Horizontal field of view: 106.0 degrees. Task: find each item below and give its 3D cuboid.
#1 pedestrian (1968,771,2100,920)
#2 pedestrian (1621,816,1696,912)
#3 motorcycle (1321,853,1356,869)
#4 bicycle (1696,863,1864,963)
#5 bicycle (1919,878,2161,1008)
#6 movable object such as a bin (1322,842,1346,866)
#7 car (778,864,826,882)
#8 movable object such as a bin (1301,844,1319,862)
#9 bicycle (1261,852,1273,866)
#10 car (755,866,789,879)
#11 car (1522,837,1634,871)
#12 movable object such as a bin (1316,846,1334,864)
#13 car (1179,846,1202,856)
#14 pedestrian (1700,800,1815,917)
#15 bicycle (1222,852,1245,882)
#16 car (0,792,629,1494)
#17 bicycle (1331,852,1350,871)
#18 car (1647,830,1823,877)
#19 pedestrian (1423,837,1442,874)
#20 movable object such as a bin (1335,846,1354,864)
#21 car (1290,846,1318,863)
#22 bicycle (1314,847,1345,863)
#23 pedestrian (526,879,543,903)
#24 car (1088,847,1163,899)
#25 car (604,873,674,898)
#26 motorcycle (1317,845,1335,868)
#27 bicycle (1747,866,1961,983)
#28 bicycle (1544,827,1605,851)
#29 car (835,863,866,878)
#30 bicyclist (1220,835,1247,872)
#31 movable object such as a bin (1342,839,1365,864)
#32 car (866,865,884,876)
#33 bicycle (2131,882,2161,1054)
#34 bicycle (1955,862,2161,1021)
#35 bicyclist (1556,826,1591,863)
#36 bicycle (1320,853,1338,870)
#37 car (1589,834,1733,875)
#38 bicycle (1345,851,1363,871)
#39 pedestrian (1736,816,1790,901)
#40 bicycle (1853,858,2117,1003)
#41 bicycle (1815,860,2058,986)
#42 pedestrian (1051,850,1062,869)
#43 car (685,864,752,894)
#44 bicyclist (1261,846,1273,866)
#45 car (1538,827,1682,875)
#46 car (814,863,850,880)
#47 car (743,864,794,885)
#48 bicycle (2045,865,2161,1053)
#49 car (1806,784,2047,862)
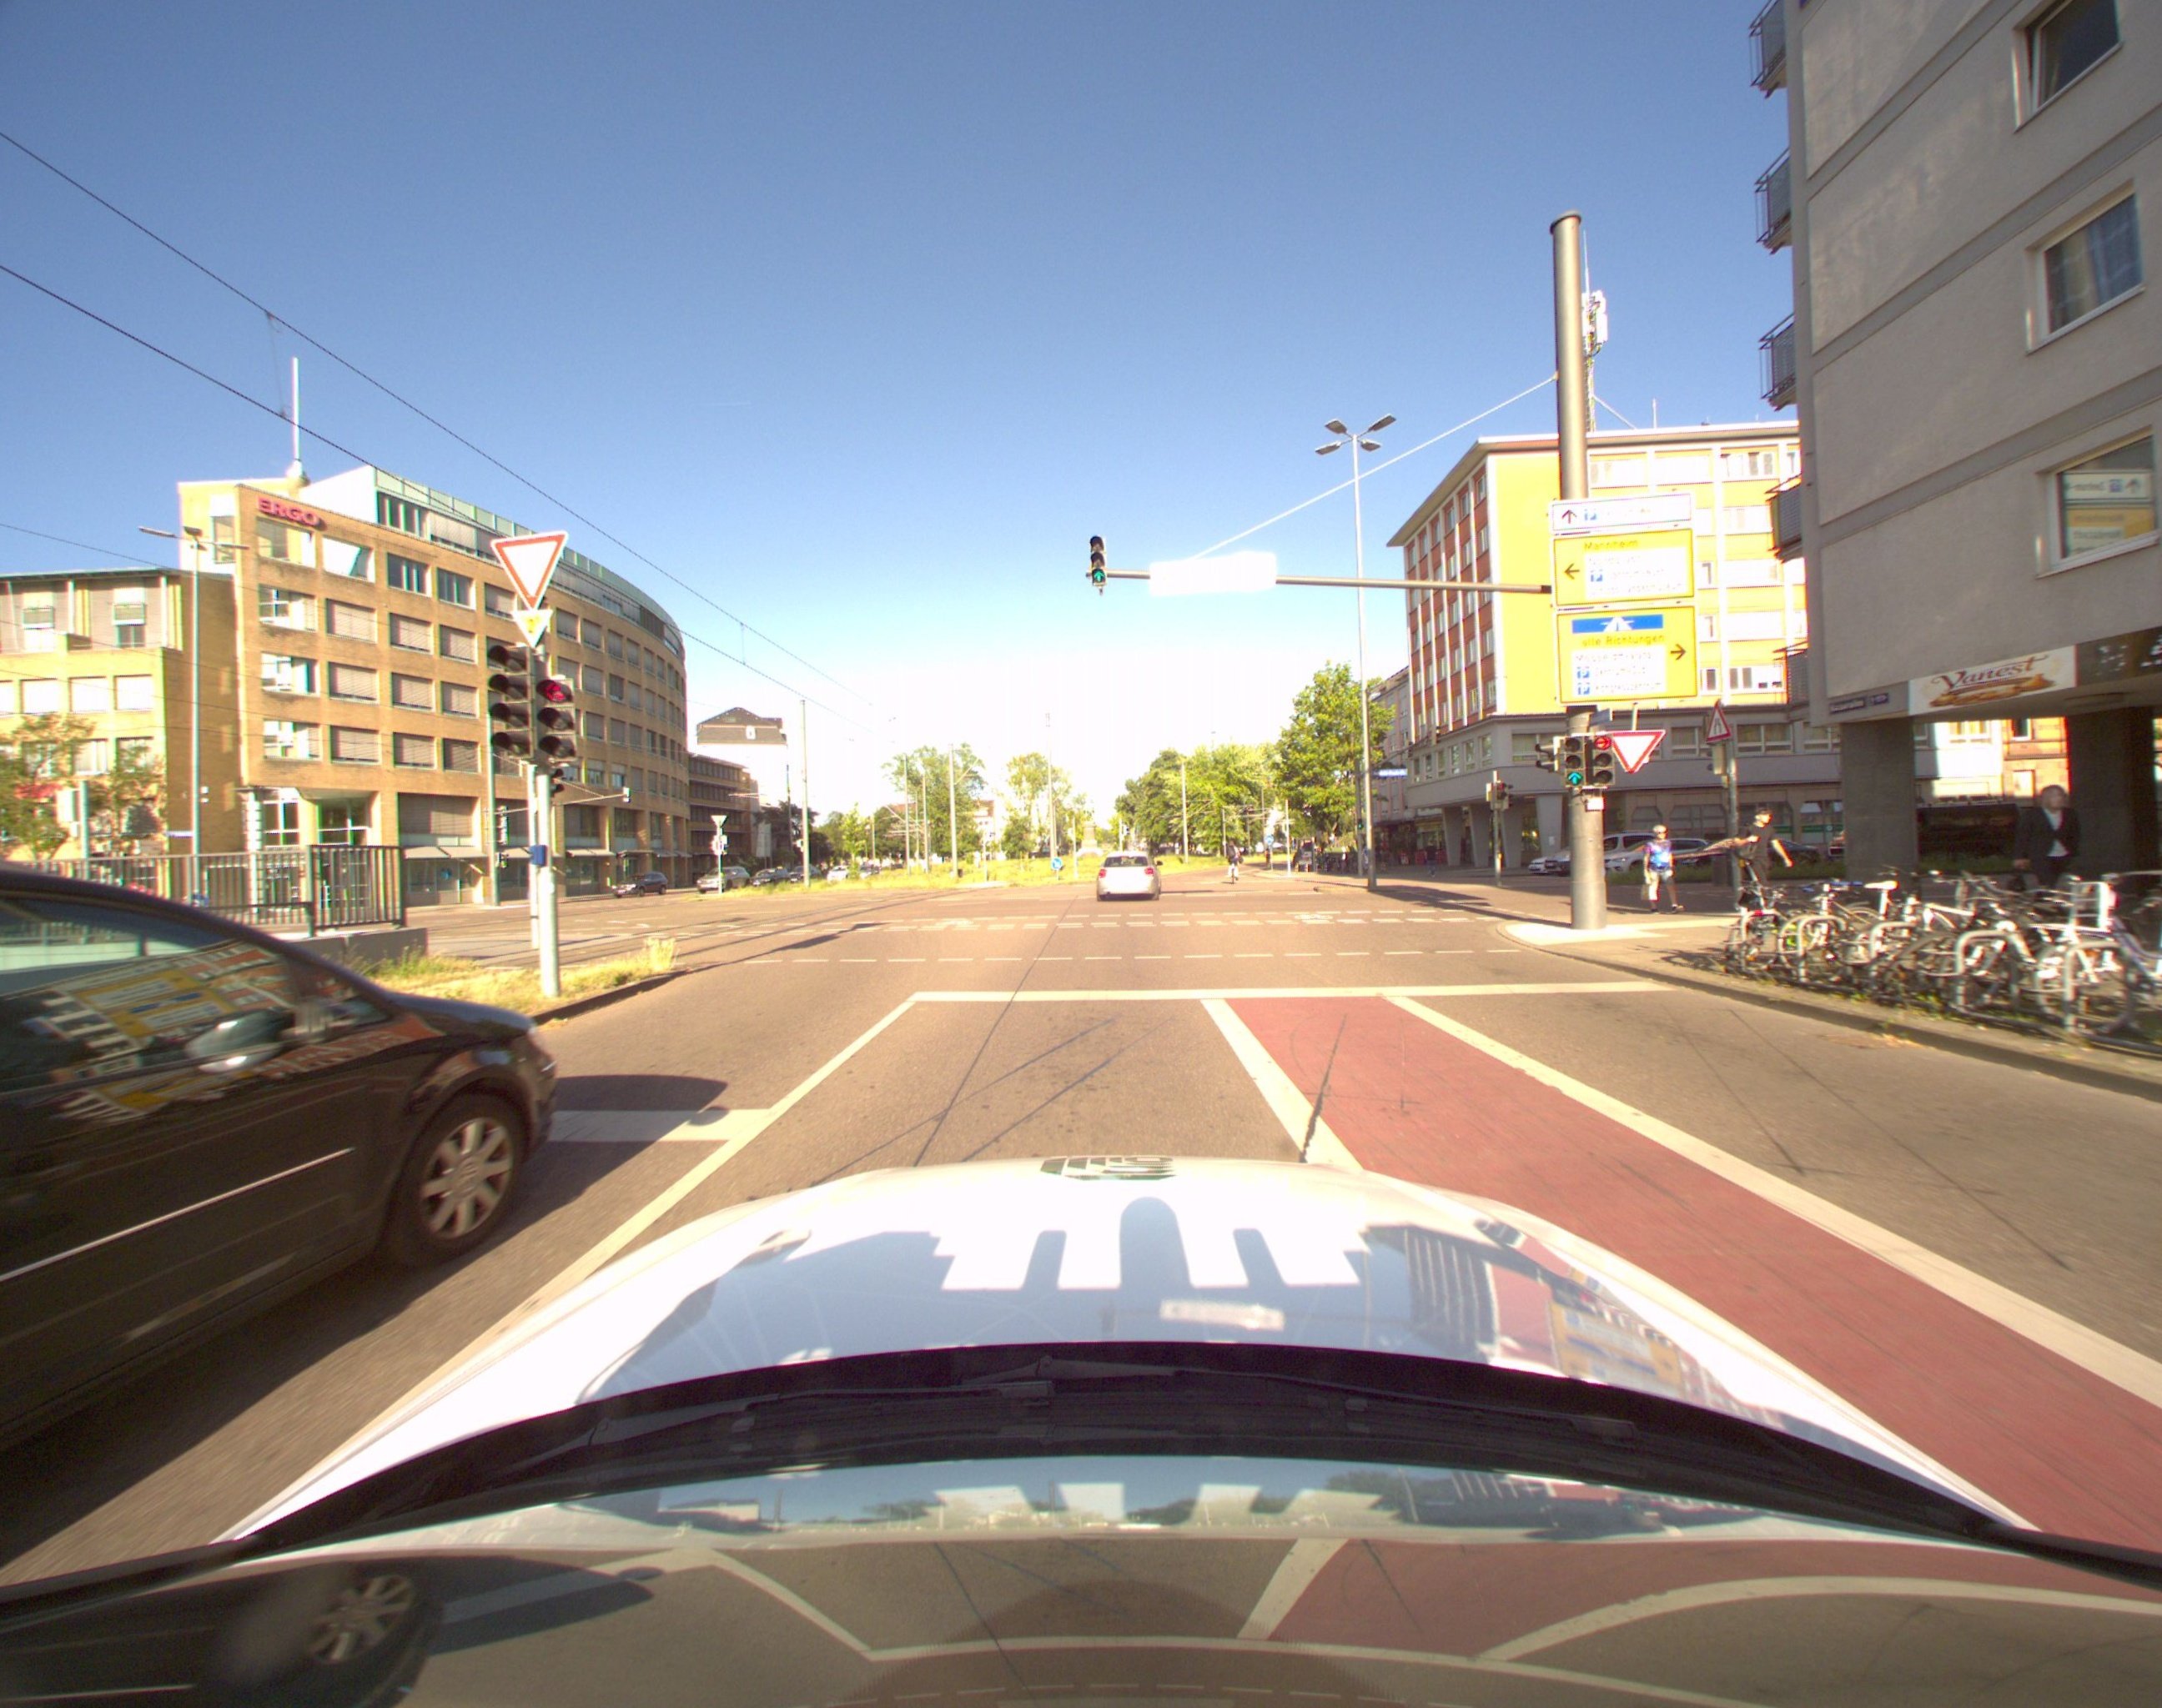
[{"bbox_3d":[12.658,-0.105,10.852,0.782,1.886,0.879,-2,0,21],"label":"pedestrian"},{"bbox_3d":[11.138,0.195,15.728,0.786,1.777,0.875,-2,0,1],"label":"pedestrian"},{"bbox_3d":[16.878,0.456,53.419,2.088,1.021,0.763,-1,0,2],"label":"motorcycle"},{"bbox_3d":[7.726,0.642,9.033,1.423,1.011,0.411,-3,-1,3],"label":"bicycle"},{"bbox_3d":[7.545,0.682,6.393,1.538,0.966,0.387,0,-1,-1],"label":"bicycle"},{"bbox_3d":[17.955,0.012,57.775,1.375,1.640,1.008,-1,-1,1],"label":"movable object such as a bin"},{"bbox_3d":[-23.763,1.587,69.528,1.984,1.447,5.026,0,0,4],"label":"car"},{"bbox_3d":[17.854,-0.083,63.572,1.270,1.391,0.926,-1,-1,20],"label":"movable object such as a bin"},{"bbox_3d":[15.416,0.431,67.499,0.815,1.185,1.968,0,-1,8],"label":"bicycle"},{"bbox_3d":[-40.866,2.412,107.756,4.010,1.581,1.982,0,-1,-28],"label":"car"},{"bbox_3d":[23.265,0.037,38.244,4.136,1.503,1.845,0,-2,0],"label":"car"},{"bbox_3d":[18.957,0.059,63.260,1.167,1.356,0.928,0,-1,3],"label":"movable object such as a bin"},{"bbox_3d":[26.323,-0.627,196.524,5.314,2.314,2.001,0,-1,2],"label":"car"},{"bbox_3d":[11.220,0.076,13.558,0.860,1.835,1.211,-2,0,1],"label":"pedestrian"},{"bbox_3d":[6.161,0.513,32.906,0.880,1.136,2.235,-1,-1,11],"label":"bicycle"},{"bbox_3d":[-3.358,0.640,1.970,1.986,1.537,4.358,0,-1,2],"label":"car"},{"bbox_3d":[16.025,0.466,50.327,0.474,1.117,2.119,0,-1,-1],"label":"bicycle"},{"bbox_3d":[21.602,0.010,27.089,4.120,1.469,1.980,-1,-1,12],"label":"car"},{"bbox_3d":[17.725,0.088,41.061,0.818,1.844,0.896,-1,-1,24],"label":"pedestrian"},{"bbox_3d":[20.447,0.072,63.274,1.207,1.390,0.960,0,-1,3],"label":"movable object such as a bin"},{"bbox_3d":[20.374,0.037,74.246,1.749,1.438,4.609,-3,0,24],"label":"car"},{"bbox_3d":[19.949,0.070,65.345,0.904,1.251,2.143,-2,0,-42],"label":"bicycle"},{"bbox_3d":[-36.286,2.443,54.113,0.593,1.532,0.714,-1,-1,10],"label":"pedestrian"},{"bbox_3d":[1.427,0.539,24.425,1.983,1.423,4.204,0,-1,6],"label":"car"},{"bbox_3d":[-31.756,2.226,58.732,2.110,1.668,5.213,0,0,2],"label":"car"},{"bbox_3d":[16.667,0.176,55.450,0.798,1.539,2.551,-1,0,8],"label":"motorcycle"},{"bbox_3d":[7.541,0.670,7.971,1.694,1.011,0.410,-3,-1,-2],"label":"bicycle"},{"bbox_3d":[21.468,-0.660,35.431,2.134,1.000,0.861,0,-1,0],"label":"bicycle"},{"bbox_3d":[-23.370,1.689,82.601,1.989,1.427,4.506,0,0,-3],"label":"car"},{"bbox_3d":[6.147,-0.018,32.889,1.031,1.484,0.991,-1,-1,10],"label":"bicyclist"},{"bbox_3d":[19.273,-0.146,57.665,1.251,1.709,0.945,-2,-1,1],"label":"movable object such as a bin"},{"bbox_3d":[-34.625,2.788,136.834,1.989,1.513,4.277,-1,-3,-3],"label":"car"},{"bbox_3d":[7.554,0.657,4.937,1.763,1.055,0.415,-4,-1,0],"label":"bicycle"},{"bbox_3d":[7.527,0.608,5.925,1.808,1.082,0.530,0,-1,-2],"label":"bicycle"},{"bbox_3d":[21.402,-0.396,35.425,0.929,1.560,0.941,0,-1,0],"label":"bicyclist"},{"bbox_3d":[15.320,0.471,50.343,0.474,0.984,2.119,0,-1,-1],"label":"bicycle"},{"bbox_3d":[21.206,0.022,29.901,3.974,1.440,1.848,0,-1,0],"label":"car"},{"bbox_3d":[17.010,0.424,50.795,0.530,1.244,1.847,0,-1,1],"label":"bicycle"},{"bbox_3d":[14.566,0.099,17.404,0.565,1.773,0.665,-2,0,4],"label":"pedestrian"},{"bbox_3d":[7.546,0.619,6.826,1.744,1.100,0.399,-3,-1,-1],"label":"bicycle"},{"bbox_3d":[7.584,0.596,7.245,1.746,1.076,0.406,0,-1,-1],"label":"bicycle"},{"bbox_3d":[-2.263,0.515,75.973,0.727,1.671,0.749,-2,0,27],"label":"pedestrian"},{"bbox_3d":[-24.007,1.603,54.215,2.093,1.734,5.086,-2,0,0],"label":"car"},{"bbox_3d":[15.427,0.169,67.578,0.934,1.633,0.937,0,-1,7],"label":"bicyclist"},{"bbox_3d":[21.488,-0.104,33.215,4.570,1.850,1.947,0,-1,1],"label":"car"},{"bbox_3d":[-23.558,1.647,77.171,1.987,1.596,4.656,0,0,0],"label":"car"},{"bbox_3d":[-23.592,1.522,61.651,1.987,1.517,4.662,0,0,1],"label":"car"},{"bbox_3d":[7.538,0.630,5.396,1.633,1.112,0.530,-4,-1,-1],"label":"bicycle"},{"bbox_3d":[27.756,-0.976,26.936,5.211,2.199,2.381,-2,0,6],"label":"car"}]
